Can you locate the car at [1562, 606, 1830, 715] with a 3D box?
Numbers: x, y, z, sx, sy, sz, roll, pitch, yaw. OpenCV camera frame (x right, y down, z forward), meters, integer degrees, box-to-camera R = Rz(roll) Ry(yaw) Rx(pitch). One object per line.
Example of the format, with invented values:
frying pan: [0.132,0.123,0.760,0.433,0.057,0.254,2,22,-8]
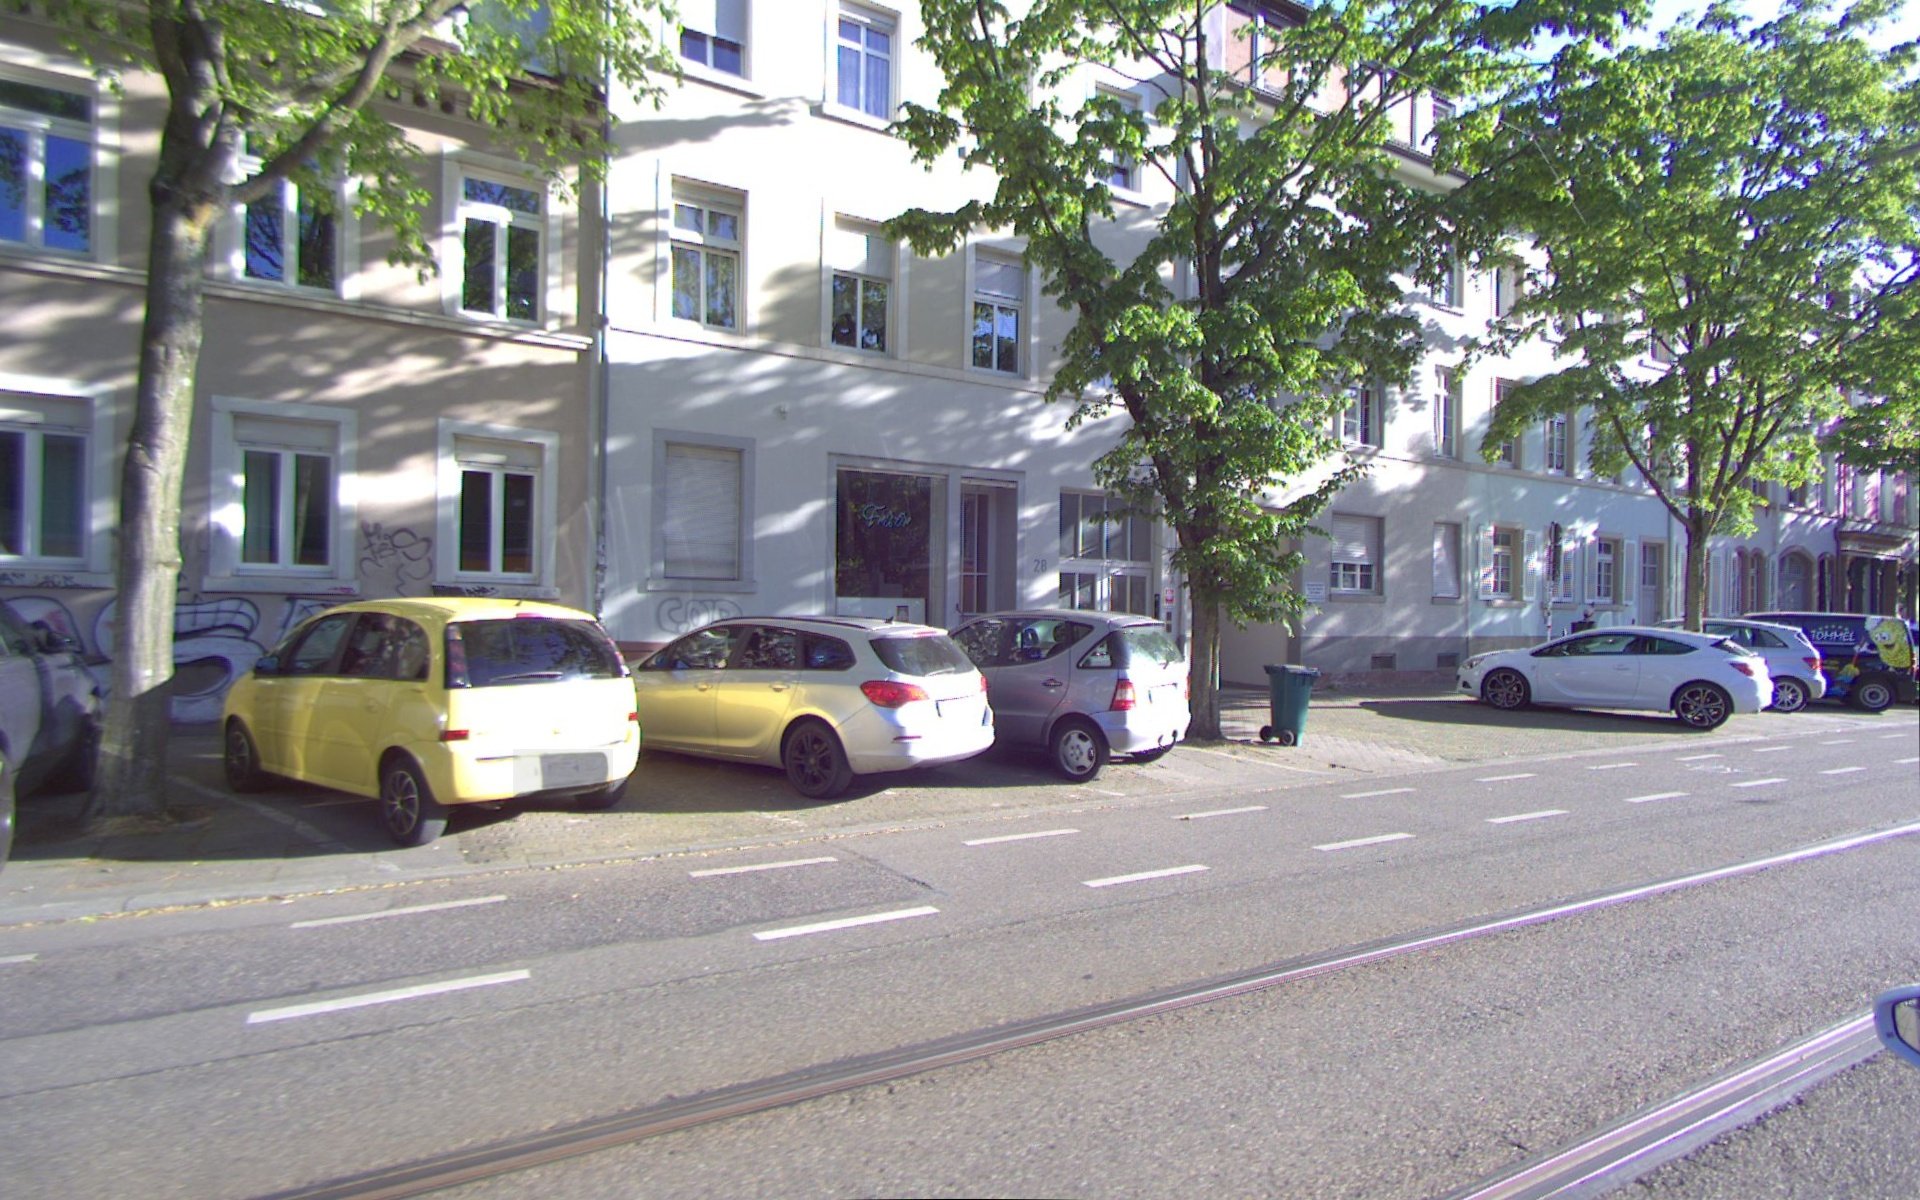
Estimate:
car: [13.973,1.069,19.400,3.929,1.679,1.806,3,2,31]

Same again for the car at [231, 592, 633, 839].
car: [-4.233,0.743,7.921,3.318,1.573,1.380,0,-1,34]

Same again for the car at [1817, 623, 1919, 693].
car: [23.118,1.372,23.906,3.828,1.630,1.572,0,-1,24]

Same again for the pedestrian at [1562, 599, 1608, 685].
pedestrian: [13.816,0.921,22.203,0.617,1.862,0.641,1,-1,-28]

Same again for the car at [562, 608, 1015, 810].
car: [-1.691,0.877,9.572,4.096,1.573,1.700,0,-1,29]

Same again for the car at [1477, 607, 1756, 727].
car: [10.826,1.021,16.660,3.594,1.550,1.877,4,1,41]

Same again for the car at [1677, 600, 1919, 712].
car: [16.609,1.075,20.094,3.383,1.867,1.731,4,0,28]

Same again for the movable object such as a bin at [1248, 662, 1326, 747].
movable object such as a bin: [3.994,1.262,12.268,0.662,0.957,0.618,1,0,-31]

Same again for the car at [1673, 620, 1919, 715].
car: [18.759,1.416,21.947,4.849,1.818,2.206,1,0,27]

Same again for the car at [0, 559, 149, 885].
car: [-7.057,0.626,6.509,2.139,1.747,4.803,1,0,-31]

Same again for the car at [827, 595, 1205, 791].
car: [0.475,0.839,10.965,3.944,1.699,1.693,1,0,43]
